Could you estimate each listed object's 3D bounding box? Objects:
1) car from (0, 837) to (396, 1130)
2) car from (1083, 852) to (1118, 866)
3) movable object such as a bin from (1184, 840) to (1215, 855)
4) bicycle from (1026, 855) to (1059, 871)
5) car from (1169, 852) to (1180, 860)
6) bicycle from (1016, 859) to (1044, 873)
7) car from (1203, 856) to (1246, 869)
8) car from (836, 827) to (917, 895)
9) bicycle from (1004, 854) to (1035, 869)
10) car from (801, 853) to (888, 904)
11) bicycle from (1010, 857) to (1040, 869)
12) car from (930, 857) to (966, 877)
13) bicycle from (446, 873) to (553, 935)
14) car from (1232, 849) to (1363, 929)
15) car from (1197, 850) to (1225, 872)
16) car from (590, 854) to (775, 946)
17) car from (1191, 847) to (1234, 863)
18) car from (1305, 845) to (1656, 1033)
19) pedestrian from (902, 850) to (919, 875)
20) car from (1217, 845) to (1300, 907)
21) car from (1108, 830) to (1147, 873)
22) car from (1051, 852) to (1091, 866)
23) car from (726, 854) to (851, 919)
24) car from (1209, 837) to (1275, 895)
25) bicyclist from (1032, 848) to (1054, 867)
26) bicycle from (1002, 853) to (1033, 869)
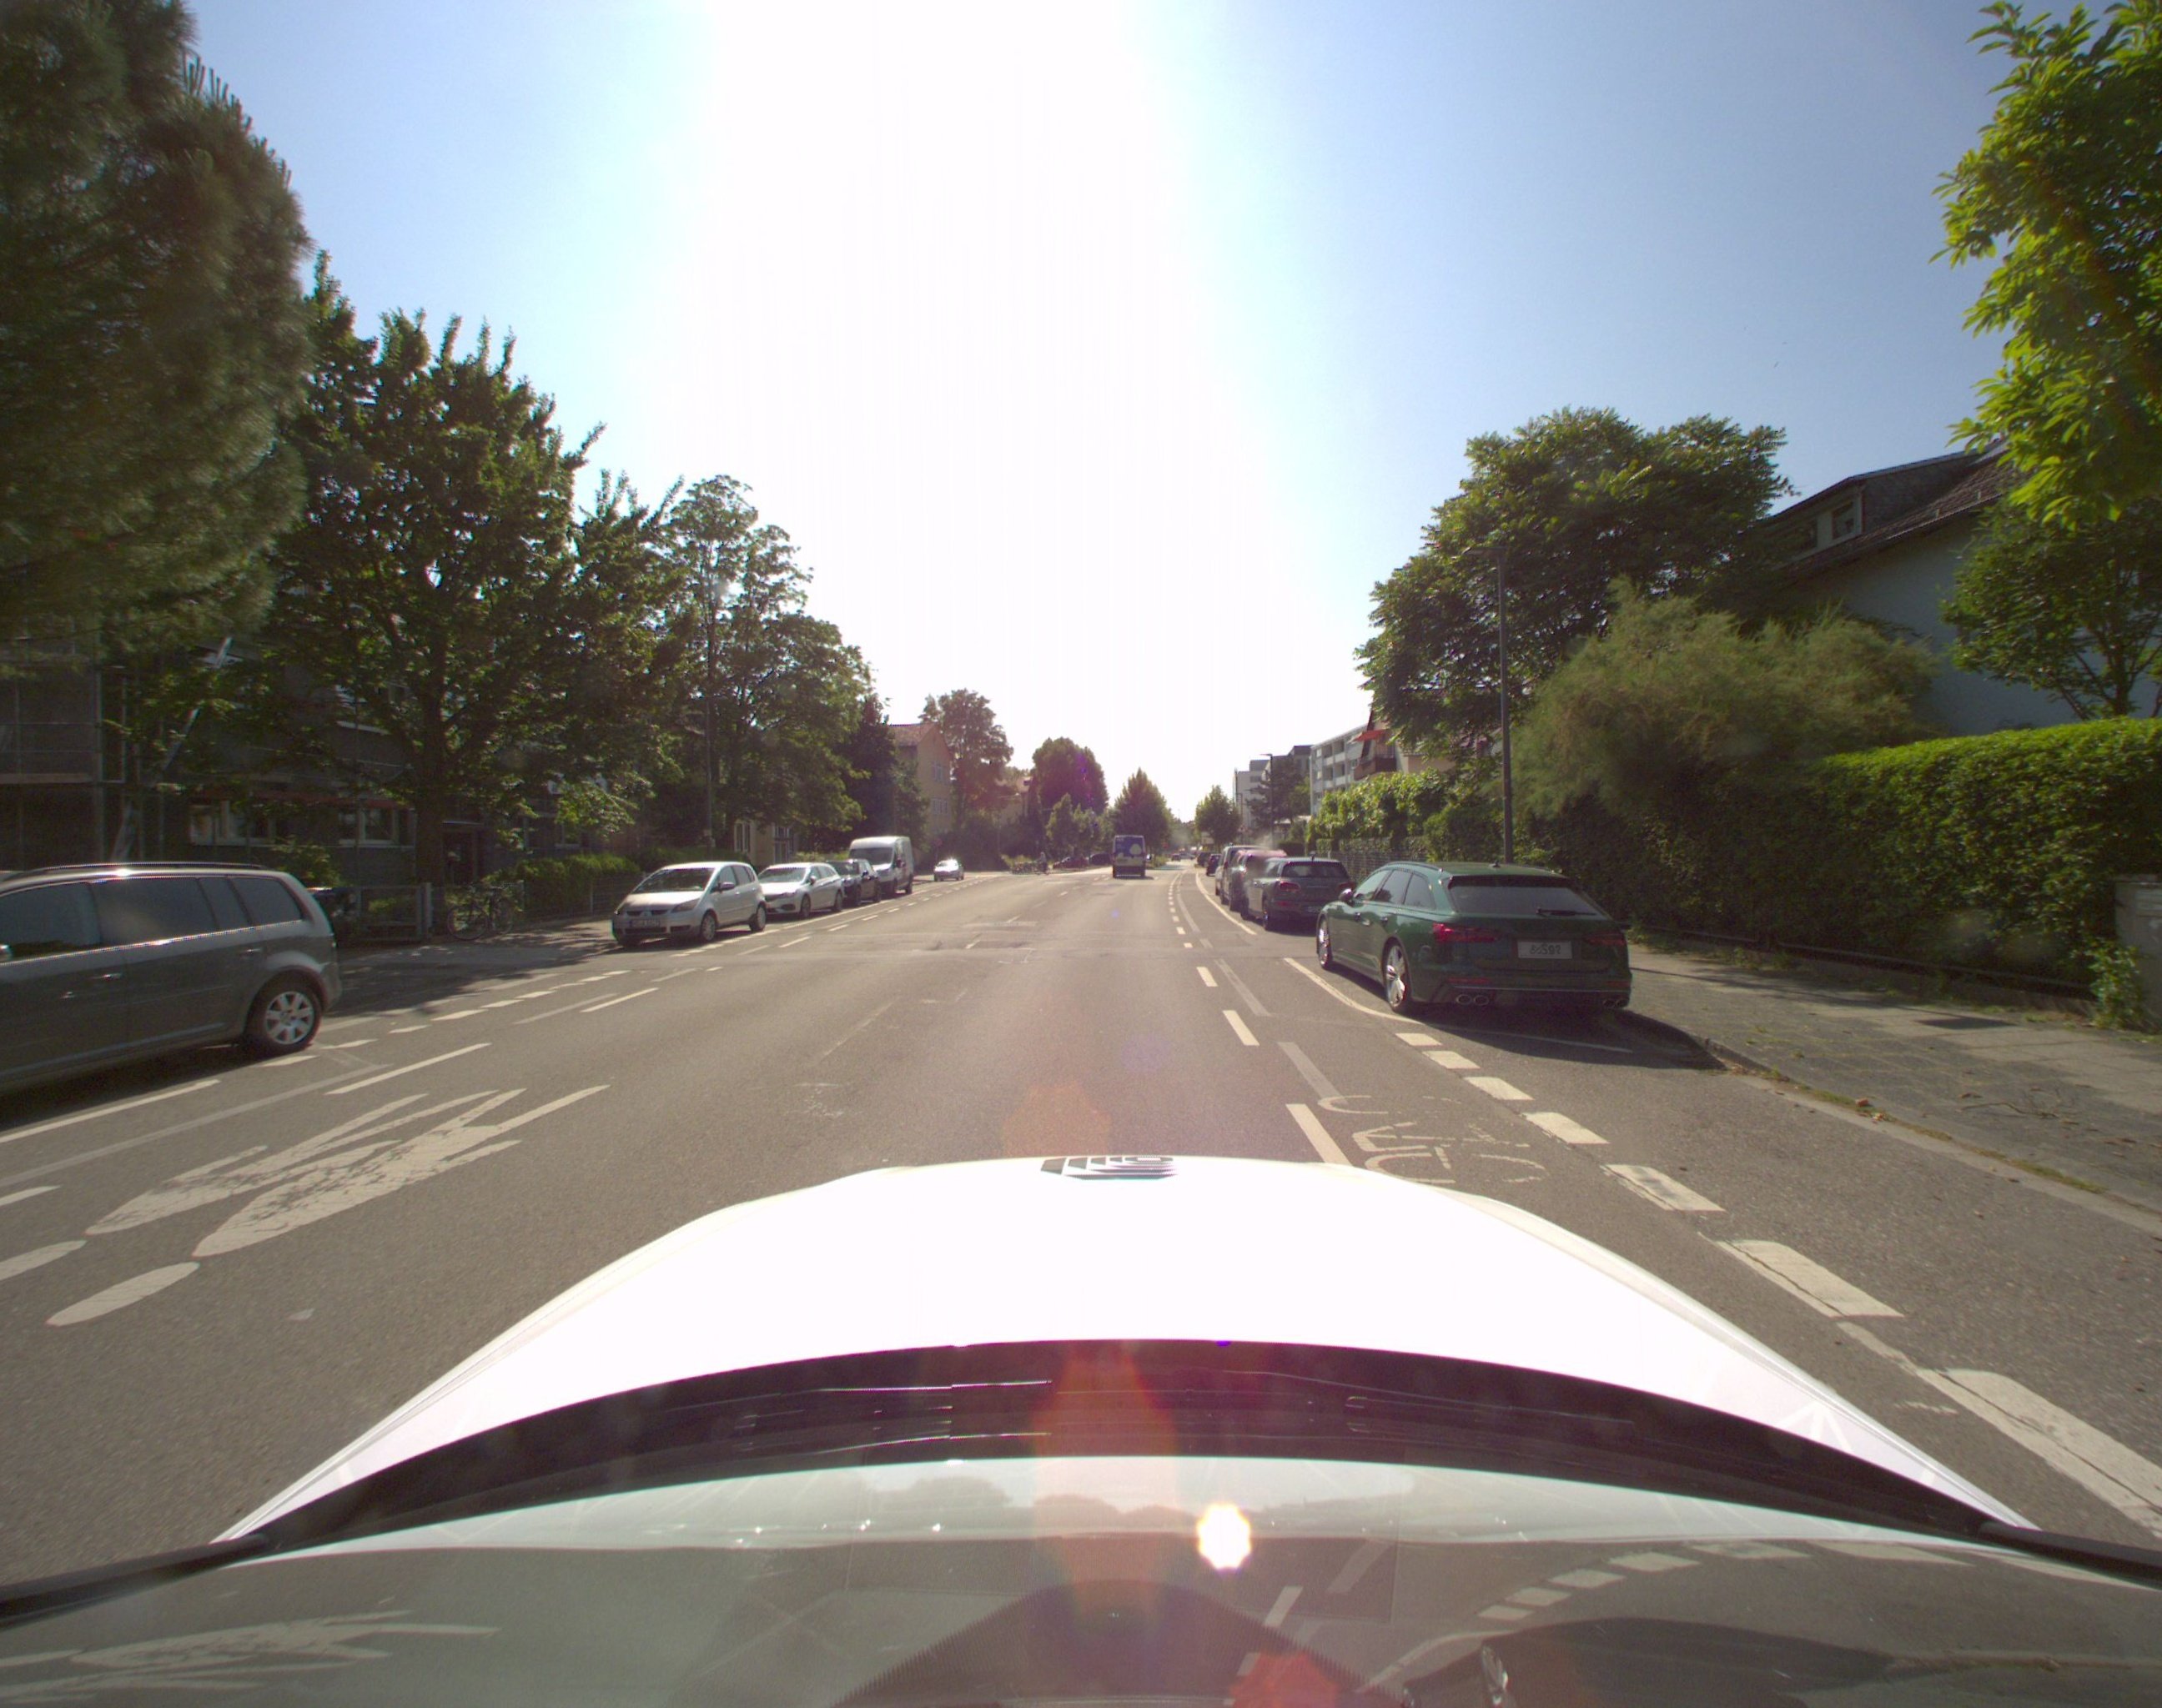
[{"bbox_3d":[-7.454,0.802,5.469,1.836,1.764,4.583,-2,0,-1],"label":"car"},{"bbox_3d":[2.587,0.641,107.380,4.201,1.816,1.985,-1,0,-30],"label":"car"},{"bbox_3d":[37.523,-2.021,258.203,9.617,4.550,3.172,0,0,9],"label":"movable object such as a bin"},{"bbox_3d":[-2.935,0.693,61.667,2.520,1.113,0.966,-2,0,40],"label":"bicycle"},{"bbox_3d":[18.161,0.422,157.525,1.984,1.398,4.005,0,0,5],"label":"car"},{"bbox_3d":[-4.689,1.064,75.074,2.532,1.256,0.740,-1,0,5],"label":"bicycle"},{"bbox_3d":[14.597,0.879,82.982,3.998,1.236,1.742,0,0,-18],"label":"car"},{"bbox_3d":[-8.283,0.263,33.574,2.084,2.496,5.946,-2,0,-3],"label":"car"},{"bbox_3d":[-5.401,0.665,71.571,2.532,1.239,0.741,-2,0,5],"label":"bicycle"},{"bbox_3d":[-7.950,0.768,27.738,1.714,1.559,4.000,-2,0,0],"label":"car"},{"bbox_3d":[-4.970,0.832,72.602,2.532,0.987,0.741,-2,0,5],"label":"bicycle"},{"bbox_3d":[-8.983,0.849,55.344,1.714,1.266,4.000,-2,0,0],"label":"car"},{"bbox_3d":[-11.805,0.981,16.632,0.510,1.139,2.240,0,-1,2],"label":"bicycle"},{"bbox_3d":[4.443,0.641,17.329,1.756,1.443,4.069,-2,0,1],"label":"car"},{"bbox_3d":[8.570,0.442,53.824,1.609,1.390,4.006,1,0,6],"label":"car"},{"bbox_3d":[-7.851,0.821,16.518,1.714,1.559,4.000,-2,0,0],"label":"car"},{"bbox_3d":[13.885,0.131,86.037,4.127,1.640,2.027,0,0,-26],"label":"car"},{"bbox_3d":[3.895,0.668,9.019,1.804,1.463,4.793,2,1,4],"label":"car"},{"bbox_3d":[-11.996,0.584,57.188,0.969,1.780,0.726,-1,-1,4],"label":"pedestrian"},{"bbox_3d":[4.906,0.551,23.050,1.754,1.593,4.320,-1,0,5],"label":"car"},{"bbox_3d":[3.018,-0.121,52.146,2.266,2.524,6.141,-2,0,4],"label":"car"},{"bbox_3d":[-1.097,0.543,89.444,3.991,1.466,1.991,-2,0,-13],"label":"car"},{"bbox_3d":[-7.939,0.803,22.592,1.714,1.559,4.672,-2,0,0],"label":"car"},{"bbox_3d":[5.543,0.423,28.527,1.754,1.827,4.604,1,-1,5],"label":"car"},{"bbox_3d":[-2.893,0.294,61.616,1.338,1.403,0.966,-2,0,40],"label":"bicyclist"},{"bbox_3d":[-5.521,0.619,70.559,2.532,1.256,0.741,-2,0,5],"label":"bicycle"}]
